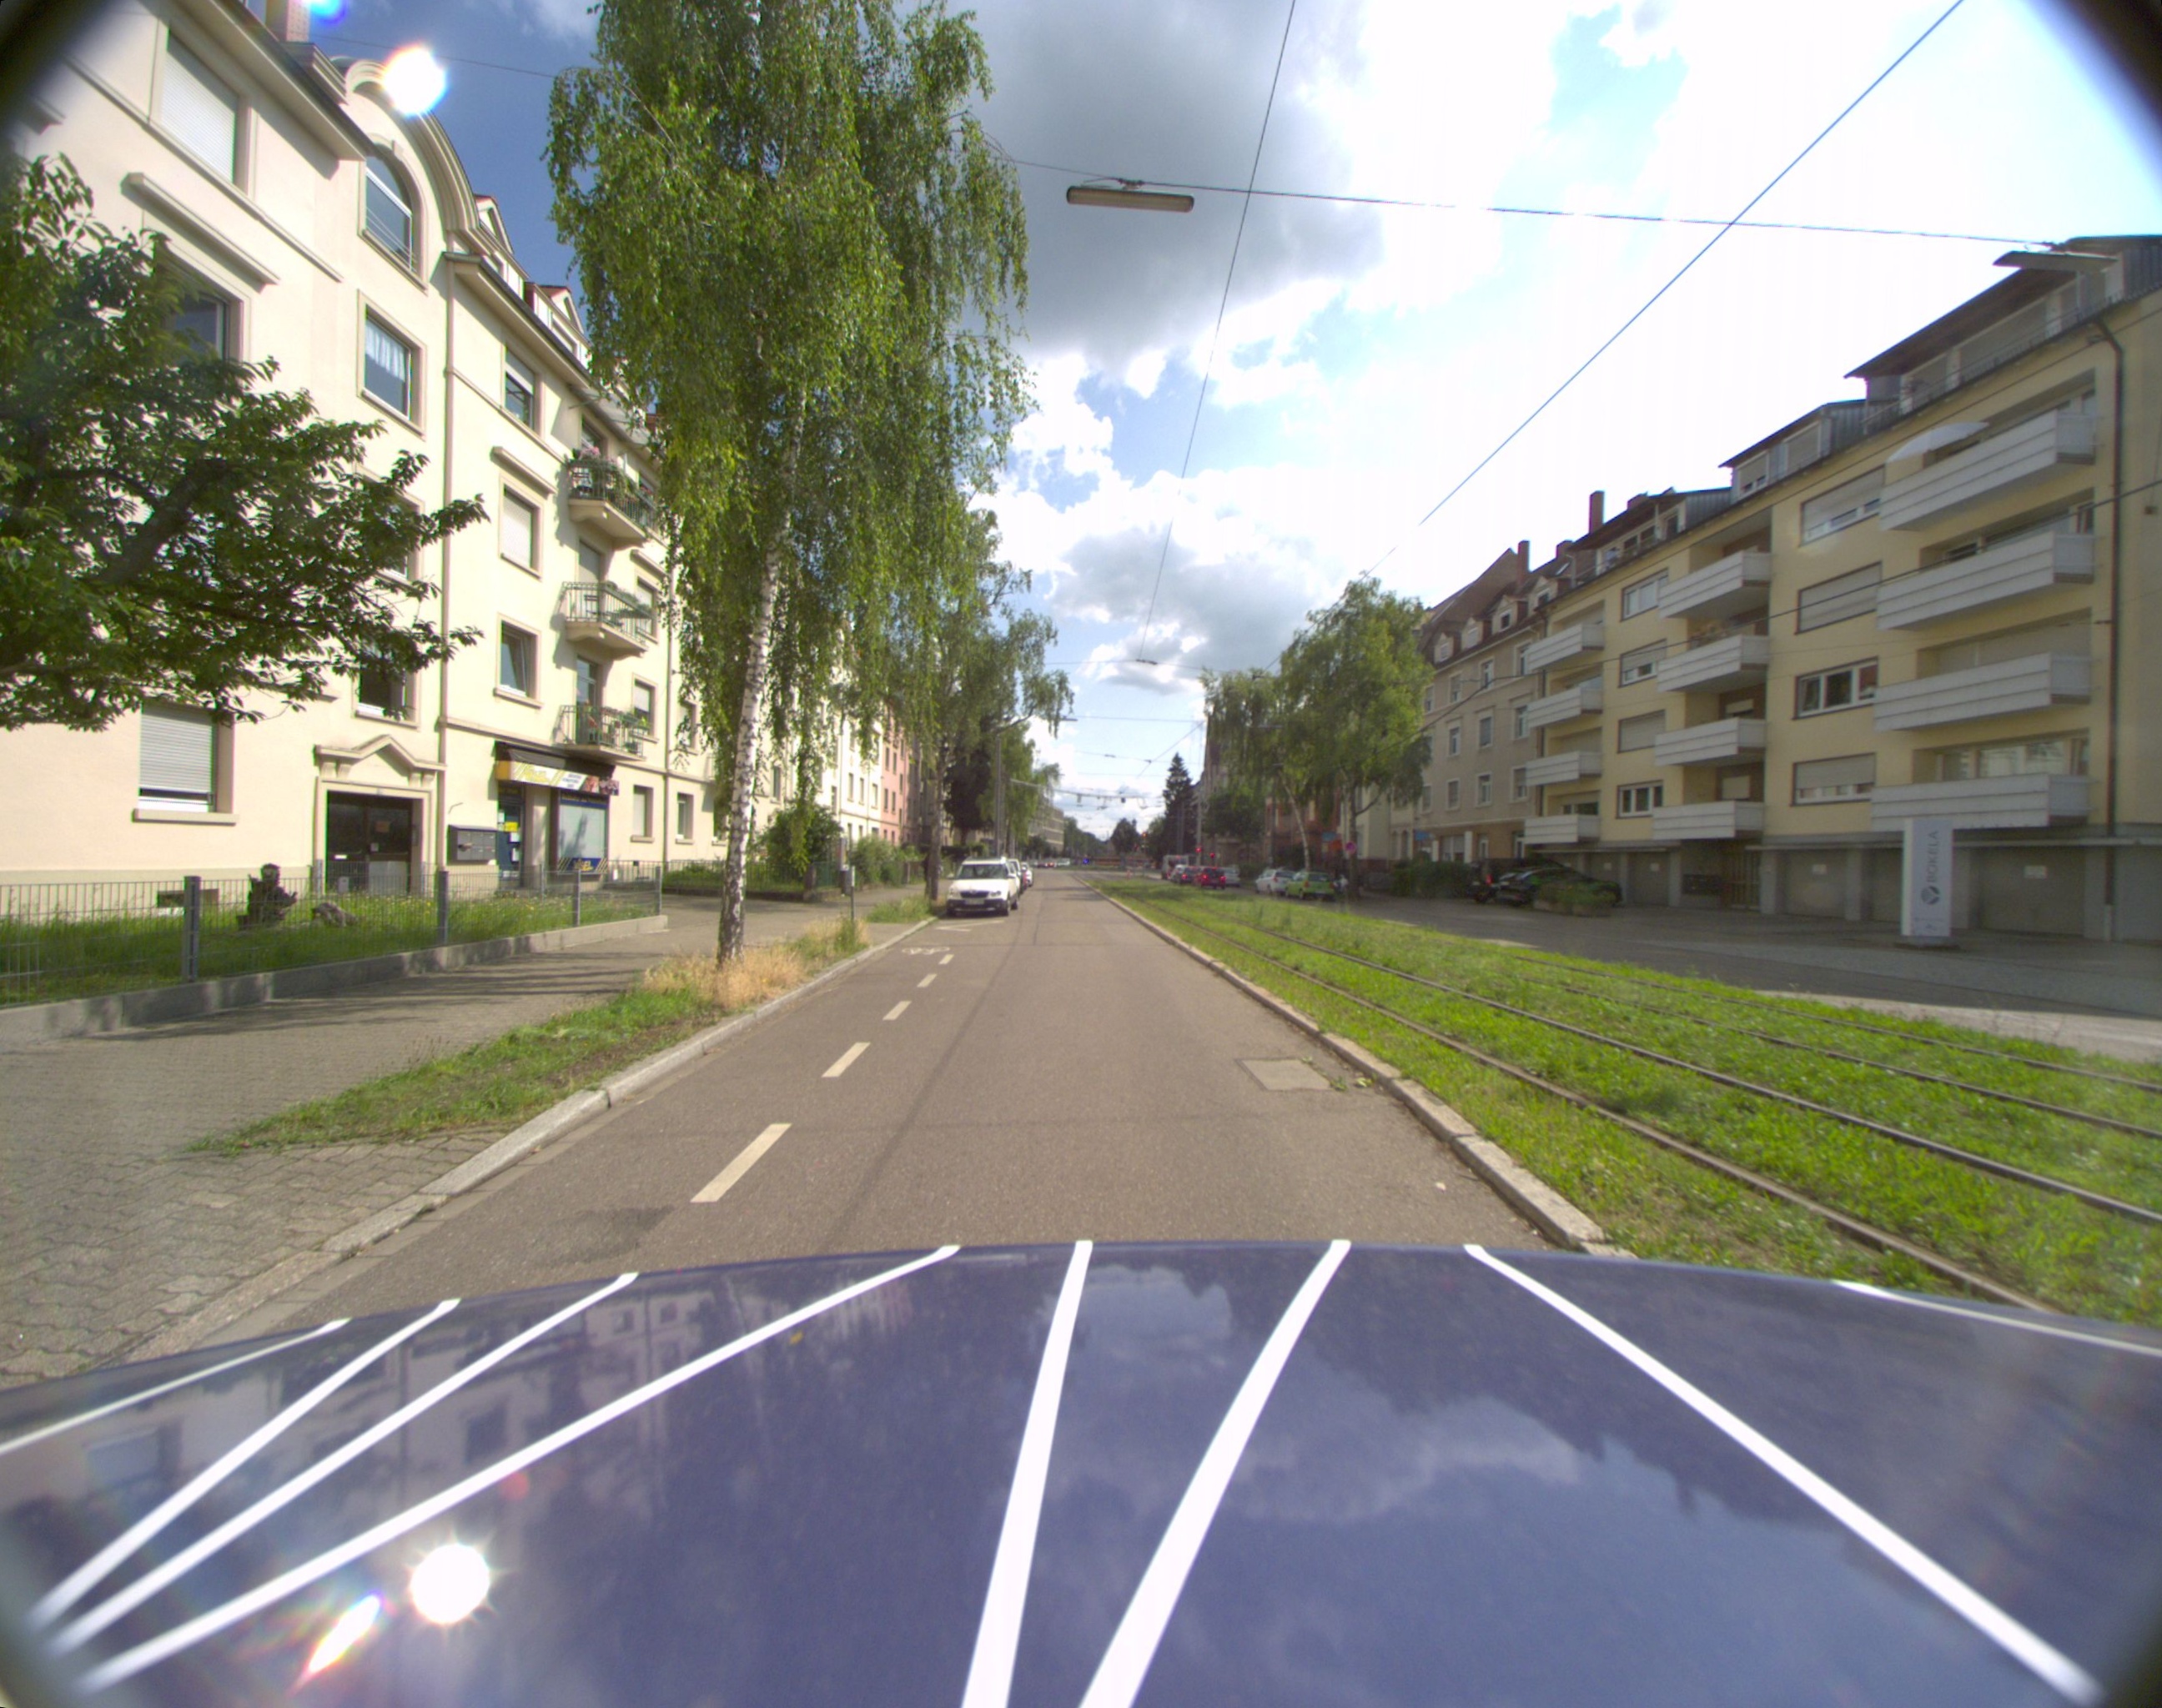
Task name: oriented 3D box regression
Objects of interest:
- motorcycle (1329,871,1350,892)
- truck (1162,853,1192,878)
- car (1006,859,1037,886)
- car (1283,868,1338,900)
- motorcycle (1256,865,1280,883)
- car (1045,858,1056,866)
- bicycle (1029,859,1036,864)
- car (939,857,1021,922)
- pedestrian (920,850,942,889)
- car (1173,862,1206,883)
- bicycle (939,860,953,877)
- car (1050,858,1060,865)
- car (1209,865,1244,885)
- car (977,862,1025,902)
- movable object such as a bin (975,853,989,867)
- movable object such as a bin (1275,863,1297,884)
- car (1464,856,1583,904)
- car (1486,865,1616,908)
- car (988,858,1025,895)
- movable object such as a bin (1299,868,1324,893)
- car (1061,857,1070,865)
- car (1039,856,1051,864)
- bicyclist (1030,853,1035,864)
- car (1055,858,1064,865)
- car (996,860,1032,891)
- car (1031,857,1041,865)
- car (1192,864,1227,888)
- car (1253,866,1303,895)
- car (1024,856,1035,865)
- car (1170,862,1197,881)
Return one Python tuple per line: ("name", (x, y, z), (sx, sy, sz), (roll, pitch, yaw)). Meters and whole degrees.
("motorcycle", (13.808, 1.440, 40.647), (0.500, 1.037, 1.632), (-2, 1, -3))
("truck", (9.167, 1.045, 73.044), (2.190, 2.201, 6.613), (2, 0, 2))
("car", (-3.473, 1.063, 44.700), (1.624, 1.444, 3.917), (-2, 0, -2))
("car", (11.678, 1.508, 38.841), (1.598, 1.423, 3.614), (2, 0, -1))
("motorcycle", (13.370, 1.402, 54.447), (0.903, 1.235, 2.293), (1, 0, -8))
("car", (-5.502, 1.437, 138.056), (1.620, 1.265, 4.000), (0, 0, 2))
("bicycle", (-7.658, 1.174, 119.867), (0.771, 0.885, 1.892), (2, 0, 4))
("car", (-2.738, 0.907, 21.448), (1.725, 1.620, 4.000), (-1, 0, 1))
("pedestrian", (-6.647, 0.688, 33.675), (0.731, 1.673, 0.691), (3, 0, 1))
("car", (8.118, 1.359, 57.254), (1.759, 1.348, 4.511), (3, 0, 0))
("bicycle", (-8.471, 0.902, 47.730), (0.473, 1.071, 2.182), (2, 0, -1))
("car", (-4.991, 1.462, 145.827), (1.620, 1.265, 4.000), (0, 0, 2))
("car", (10.909, 1.560, 57.266), (1.759, 1.348, 3.994), (2, 0, 0))
("car", (-3.145, 1.060, 30.399), (1.677, 1.408, 3.794), (-2, 0, -3))
("movable object such as a bin", (-11.310, 0.678, 86.601), (1.305, 1.483, 2.000), (2, 0, -1))
("movable object such as a bin", (13.973, 1.293, 51.714), (0.953, 1.359, 1.521), (-4, 0, -3))
("car", (19.058, 1.093, 32.879), (3.996, 2.002, 1.937), (-1, 0, 1))
("car", (18.641, 1.280, 30.275), (3.998, 1.593, 1.972), (0, 0, -2))
("car", (-3.362, 0.977, 34.757), (1.498, 1.570, 3.758), (-1, 0, -3))
("movable object such as a bin", (13.666, 1.579, 45.136), (0.953, 1.421, 1.521), (-1, 0, -3))
("car", (-3.408, 1.569, 165.877), (1.739, 1.570, 4.001), (2, 0, 2))
("car", (-6.057, 1.024, 128.828), (1.741, 1.313, 4.000), (0, 0, 2))
("bicyclist", (-7.649, 0.728, 119.830), (0.665, 1.679, 0.857), (2, 0, 3))
("car", (-4.322, 1.512, 153.370), (1.620, 1.265, 4.000), (0, 0, 2))
("car", (-3.430, 1.079, 39.353), (1.593, 1.444, 3.843), (-2, 0, -2))
("car", (-8.787, 1.364, 148.397), (1.836, 1.674, 3.999), (2, 0, -2))
("car", (8.419, 1.421, 49.997), (1.583, 1.378, 3.692), (2, 0, -1))
("car", (11.281, 1.498, 43.840), (1.649, 1.469, 4.225), (3, 0, -1))
("car", (-9.419, 1.196, 140.037), (1.999, 1.730, 3.999), (2, 0, -4))
("car", (8.555, 1.416, 63.639), (1.759, 1.406, 4.134), (3, 0, 2))
